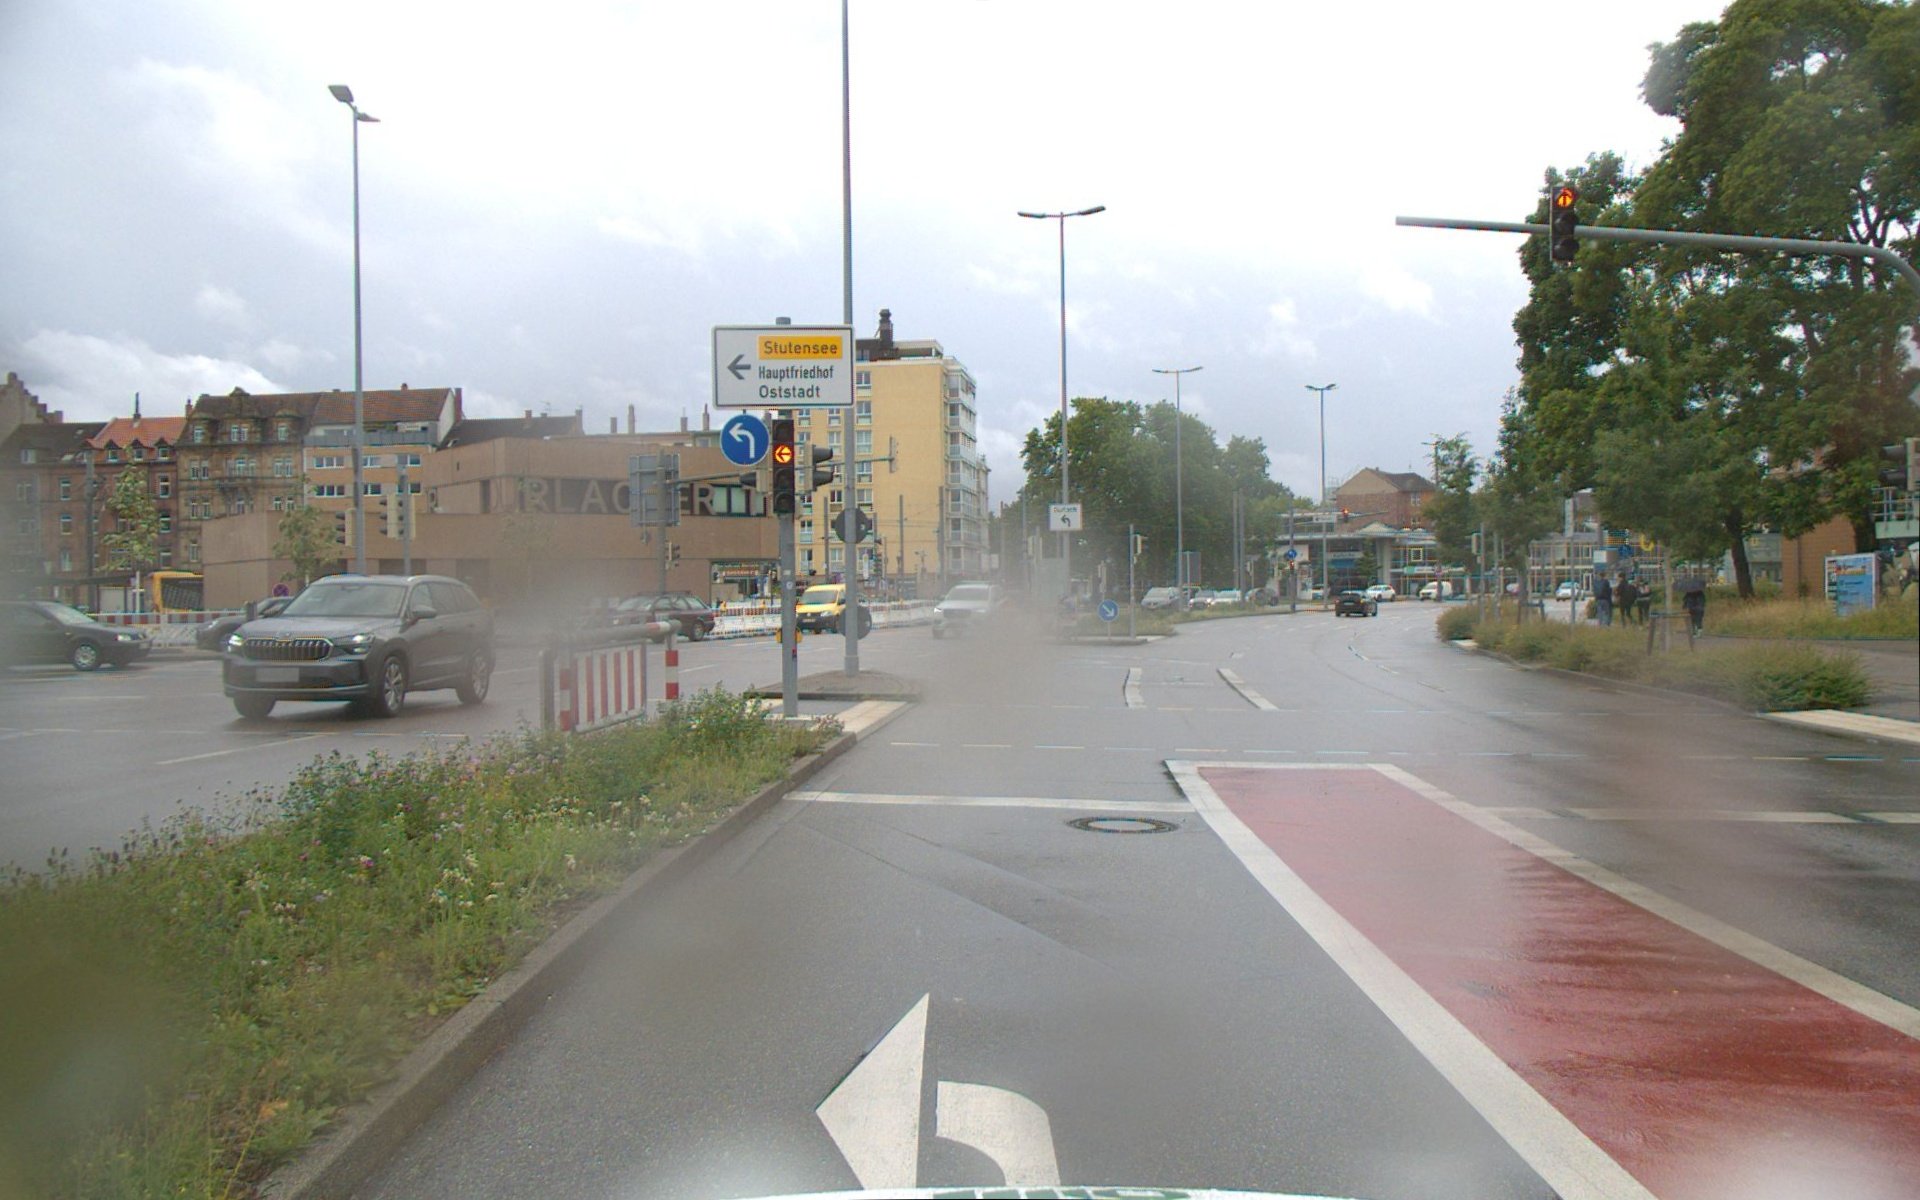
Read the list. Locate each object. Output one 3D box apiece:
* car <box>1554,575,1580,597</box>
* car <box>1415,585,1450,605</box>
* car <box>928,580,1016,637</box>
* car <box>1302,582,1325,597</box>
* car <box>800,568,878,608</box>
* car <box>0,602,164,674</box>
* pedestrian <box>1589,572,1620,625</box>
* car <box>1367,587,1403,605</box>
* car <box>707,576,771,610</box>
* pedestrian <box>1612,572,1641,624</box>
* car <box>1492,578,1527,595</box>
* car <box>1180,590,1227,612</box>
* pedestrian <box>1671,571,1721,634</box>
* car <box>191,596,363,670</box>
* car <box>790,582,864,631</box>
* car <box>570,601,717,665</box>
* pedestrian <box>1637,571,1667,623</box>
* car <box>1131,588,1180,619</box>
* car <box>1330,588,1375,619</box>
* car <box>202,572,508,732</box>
[{"bbox_3d":[49.223,-1.142,134.094,1.754,1.672,4.158,-1,0,23],"label":"car"},{"bbox_3d":[45.134,-0.467,157.842,1.761,1.890,4.140,-1,0,38],"label":"car"},{"bbox_3d":[0.463,0.245,55.375,1.787,1.711,5.170,-3,0,13],"label":"car"},{"bbox_3d":[41.187,-1.263,192.522,1.754,1.672,4.156,-1,0,25],"label":"car"},{"bbox_3d":[-10.912,-1.121,149.304,6.599,3.439,2.811,-1,0,5],"label":"car"},{"bbox_3d":[-19.244,0.803,34.843,4.109,1.427,1.616,-1,0,-5],"label":"car"},{"bbox_3d":[20.034,-0.059,51.407,0.737,1.615,0.937,-1,0,12],"label":"pedestrian"},{"bbox_3d":[40.495,-0.416,157.551,1.761,1.672,4.377,-1,1,38],"label":"car"},{"bbox_3d":[-20.059,-0.657,150.267,5.238,2.937,2.340,-1,0,5],"label":"car"},{"bbox_3d":[20.914,-0.070,51.896,0.688,1.615,0.937,-1,0,12],"label":"pedestrian"},{"bbox_3d":[54.916,-1.350,165.255,1.764,1.672,4.021,-1,1,42],"label":"car"},{"bbox_3d":[16.923,0.079,114.767,1.739,1.400,4.112,-1,1,31],"label":"car"},{"bbox_3d":[19.199,0.065,43.164,1.000,1.615,0.937,-1,0,12],"label":"pedestrian"},{"bbox_3d":[-17.313,0.807,41.971,3.776,1.735,1.690,-1,0,-35],"label":"car"},{"bbox_3d":[-4.948,0.221,62.015,1.669,1.735,4.156,-1,0,11],"label":"car"},{"bbox_3d":[-9.342,0.940,49.182,1.675,1.735,4.448,-1,0,33],"label":"car"},{"bbox_3d":[21.721,-0.088,51.939,0.688,1.615,0.937,-1,0,12],"label":"pedestrian"},{"bbox_3d":[12.327,0.198,103.889,1.661,1.720,4.179,-1,2,27],"label":"car"},{"bbox_3d":[22.251,0.182,93.717,1.754,1.672,4.158,-1,1,23],"label":"car"},{"bbox_3d":[-7.310,0.557,20.569,1.952,1.664,4.604,-3,0,1],"label":"car"}]
